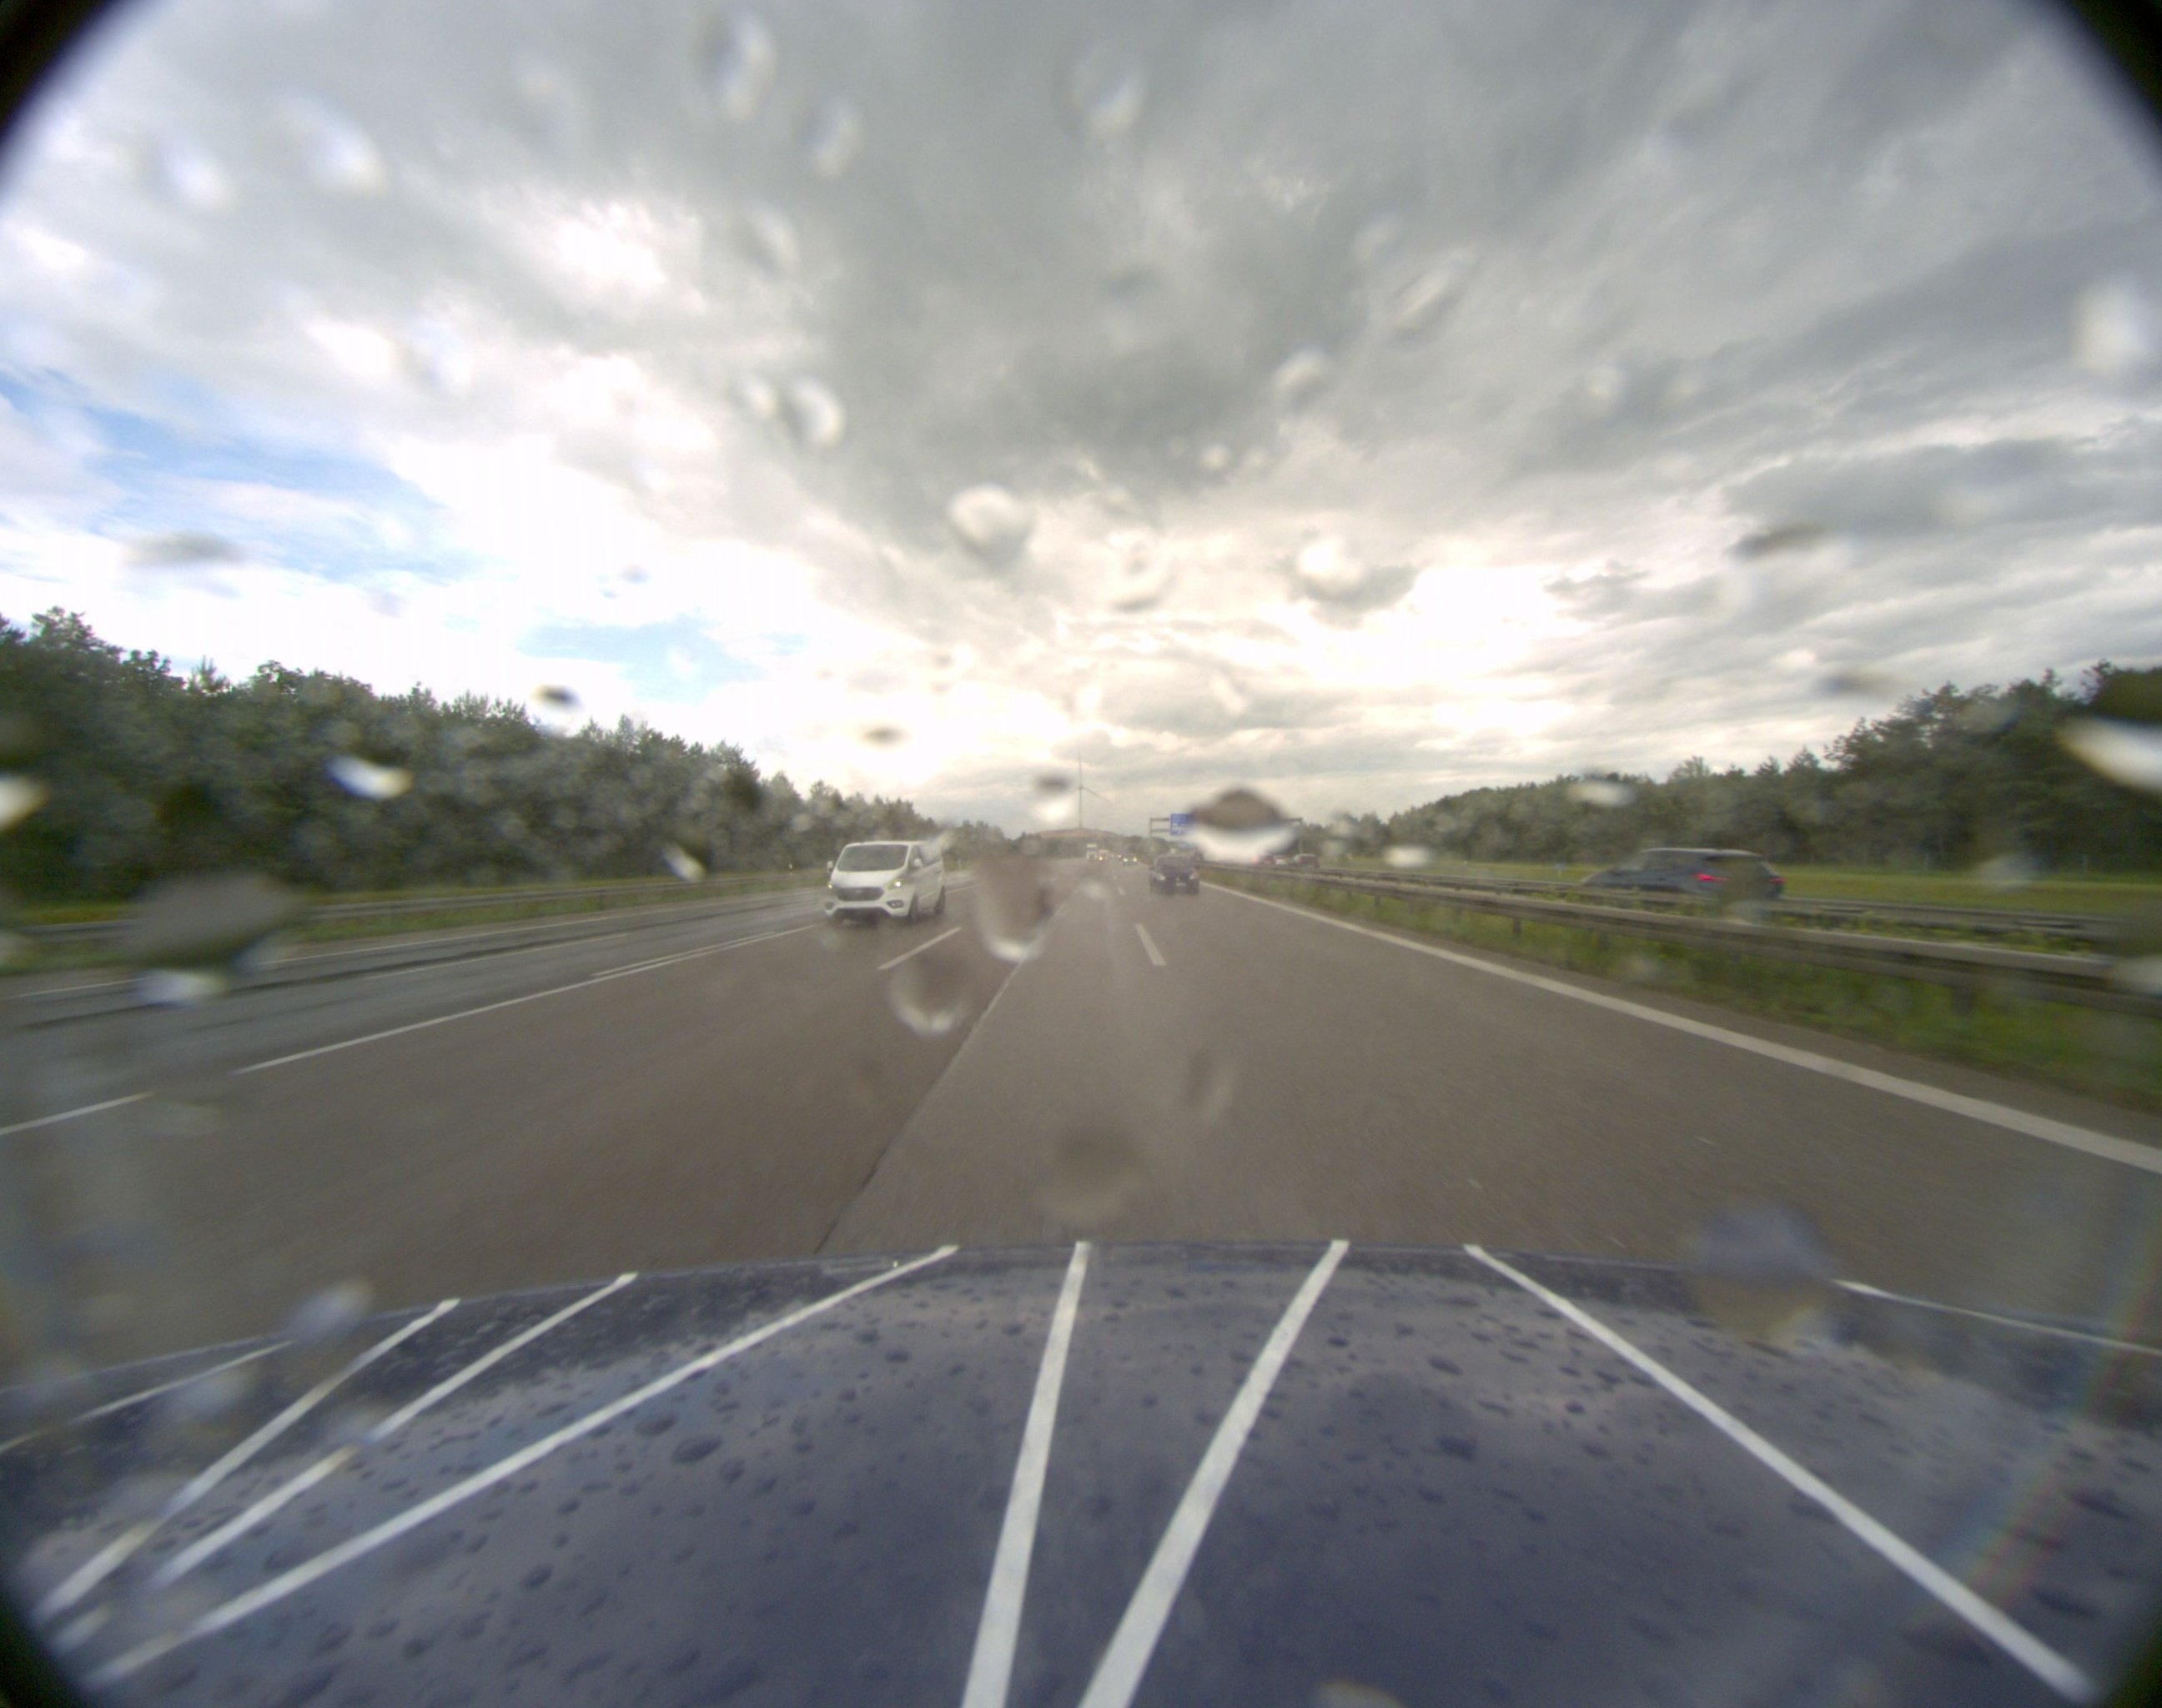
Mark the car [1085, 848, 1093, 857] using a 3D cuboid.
[{"bbox_3d":[1.952,-0.397,185.564,1.999,2.002,3.999,0,1,0],"label":"car"}]

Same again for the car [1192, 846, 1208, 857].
[{"bbox_3d":[18.392,-0.384,117.354,1.998,1.463,4.117,-3,1,4],"label":"car"}]

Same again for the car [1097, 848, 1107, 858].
[{"bbox_3d":[4.666,-0.224,168.459,1.999,2.002,3.999,0,1,0],"label":"car"}]

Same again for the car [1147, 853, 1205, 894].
[{"bbox_3d":[3.524,0.670,28.776,1.809,1.321,4.431,-2,1,3],"label":"car"}]

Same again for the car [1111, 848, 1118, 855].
[{"bbox_3d":[9.915,-0.844,224.703,1.999,2.002,3.999,0,1,0],"label":"car"}]

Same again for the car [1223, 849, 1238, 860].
[{"bbox_3d":[21.979,0.072,111.954,1.641,1.463,4.401,-1,1,4],"label":"car"}]

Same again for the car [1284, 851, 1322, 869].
[{"bbox_3d":[18.768,0.480,64.433,1.921,1.448,4.652,-1,0,2],"label":"car"}]

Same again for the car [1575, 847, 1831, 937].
[{"bbox_3d":[13.067,0.706,16.426,1.864,1.652,4.471,-1,0,0],"label":"car"}]

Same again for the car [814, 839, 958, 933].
[{"bbox_3d":[-4.729,0.694,19.419,1.998,2.002,5.483,-2,0,2],"label":"car"}]

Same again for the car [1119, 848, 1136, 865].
[{"bbox_3d":[5.757,0.279,94.171,1.998,2.002,4.000,-2,1,2],"label":"car"}]

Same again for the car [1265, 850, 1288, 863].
[{"bbox_3d":[24.365,0.303,94.649,1.795,1.463,4.819,0,1,2],"label":"car"}]

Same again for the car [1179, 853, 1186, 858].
[{"bbox_3d":[30.376,0.338,226.960,1.723,1.565,4.000,0,0,2],"label":"car"}]

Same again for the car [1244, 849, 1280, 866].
[{"bbox_3d":[14.569,0.249,61.415,1.921,1.357,4.652,-1,0,2],"label":"car"}]
